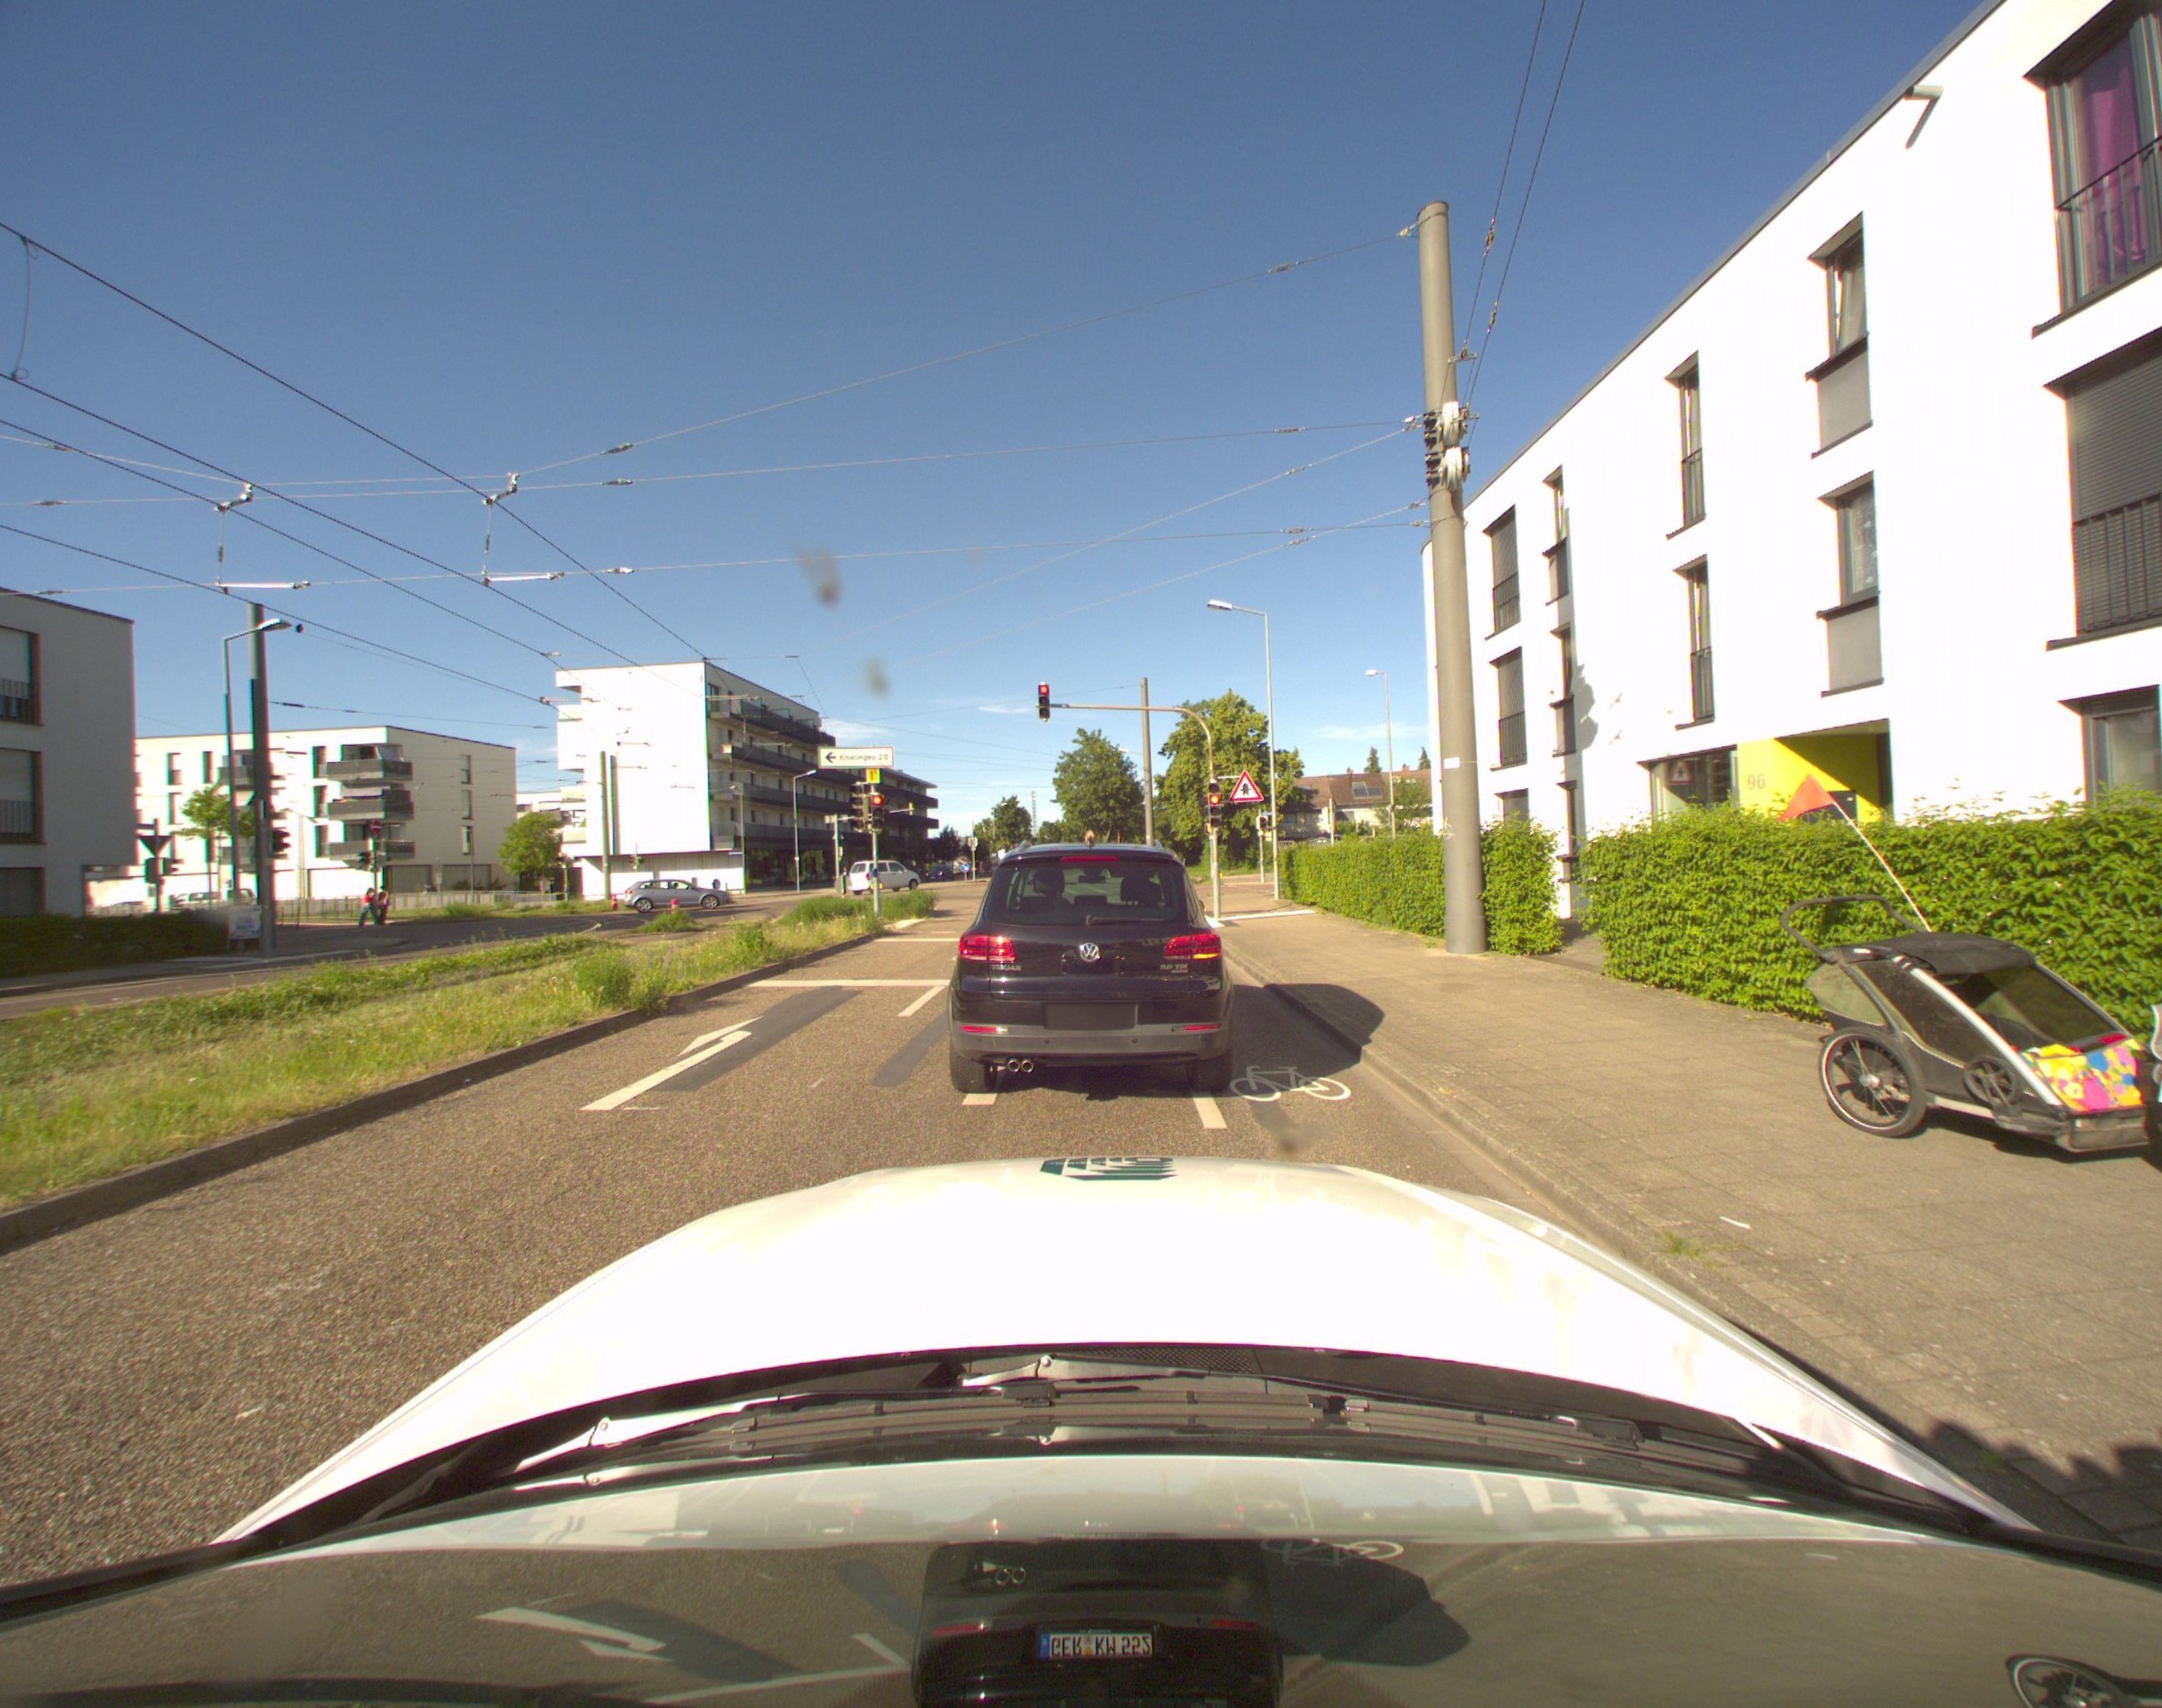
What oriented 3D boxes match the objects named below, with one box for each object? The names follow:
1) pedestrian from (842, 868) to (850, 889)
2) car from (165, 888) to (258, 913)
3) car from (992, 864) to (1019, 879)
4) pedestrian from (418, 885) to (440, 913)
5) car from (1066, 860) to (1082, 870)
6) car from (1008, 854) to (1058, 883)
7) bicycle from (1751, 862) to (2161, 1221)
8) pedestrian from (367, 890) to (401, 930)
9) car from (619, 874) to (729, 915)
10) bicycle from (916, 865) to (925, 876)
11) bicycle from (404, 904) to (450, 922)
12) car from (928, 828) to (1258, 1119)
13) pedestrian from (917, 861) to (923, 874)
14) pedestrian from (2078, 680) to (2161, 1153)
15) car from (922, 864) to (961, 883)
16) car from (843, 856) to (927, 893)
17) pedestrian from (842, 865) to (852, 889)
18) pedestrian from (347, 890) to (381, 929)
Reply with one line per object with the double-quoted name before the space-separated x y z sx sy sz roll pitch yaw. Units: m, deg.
"pedestrian" -17.096 1.808 59.158 0.440 1.503 0.517 0 -1 -4
"car" -58.884 3.172 55.219 4.305 1.574 2.002 0 -1 4
"car" -8.428 1.947 90.984 1.981 1.574 4.350 -1 -1 9
"pedestrian" -41.741 2.876 52.139 0.810 1.692 0.621 -3 -1 2
"car" -1.173 1.844 138.606 1.981 1.574 4.350 -1 -1 9
"car" -3.151 0.926 53.087 2.002 1.836 3.968 0 -1 -24
"bicycle" 4.093 0.635 2.758 0.926 1.173 3.122 -3 0 -3
"pedestrian" -29.386 2.345 34.339 0.769 1.605 0.742 0 -1 -2
"car" -17.688 1.738 35.492 4.120 1.485 1.853 -2 -1 -28
"bicycle" -19.165 1.963 97.217 0.627 1.332 1.914 0 -1 3
"bicycle" -41.844 3.784 52.128 2.400 1.002 0.641 -3 -1 2
"car" 0.128 0.695 6.615 1.862 1.637 4.001 0 -1 2
"pedestrian" -19.180 1.606 97.075 0.640 1.509 0.596 0 -1 2
"pedestrian" 4.090 0.193 2.516 0.908 1.594 0.854 -3 -1 -3
"car" -12.281 1.724 71.890 1.980 1.574 4.353 -1 -1 11
"car" -9.861 1.006 41.123 1.846 1.720 3.709 -2 0 42
"pedestrian" -17.159 1.698 59.706 0.542 1.744 0.517 0 -1 -4
"pedestrian" -30.304 2.353 34.449 0.769 1.605 0.742 0 -1 -2
